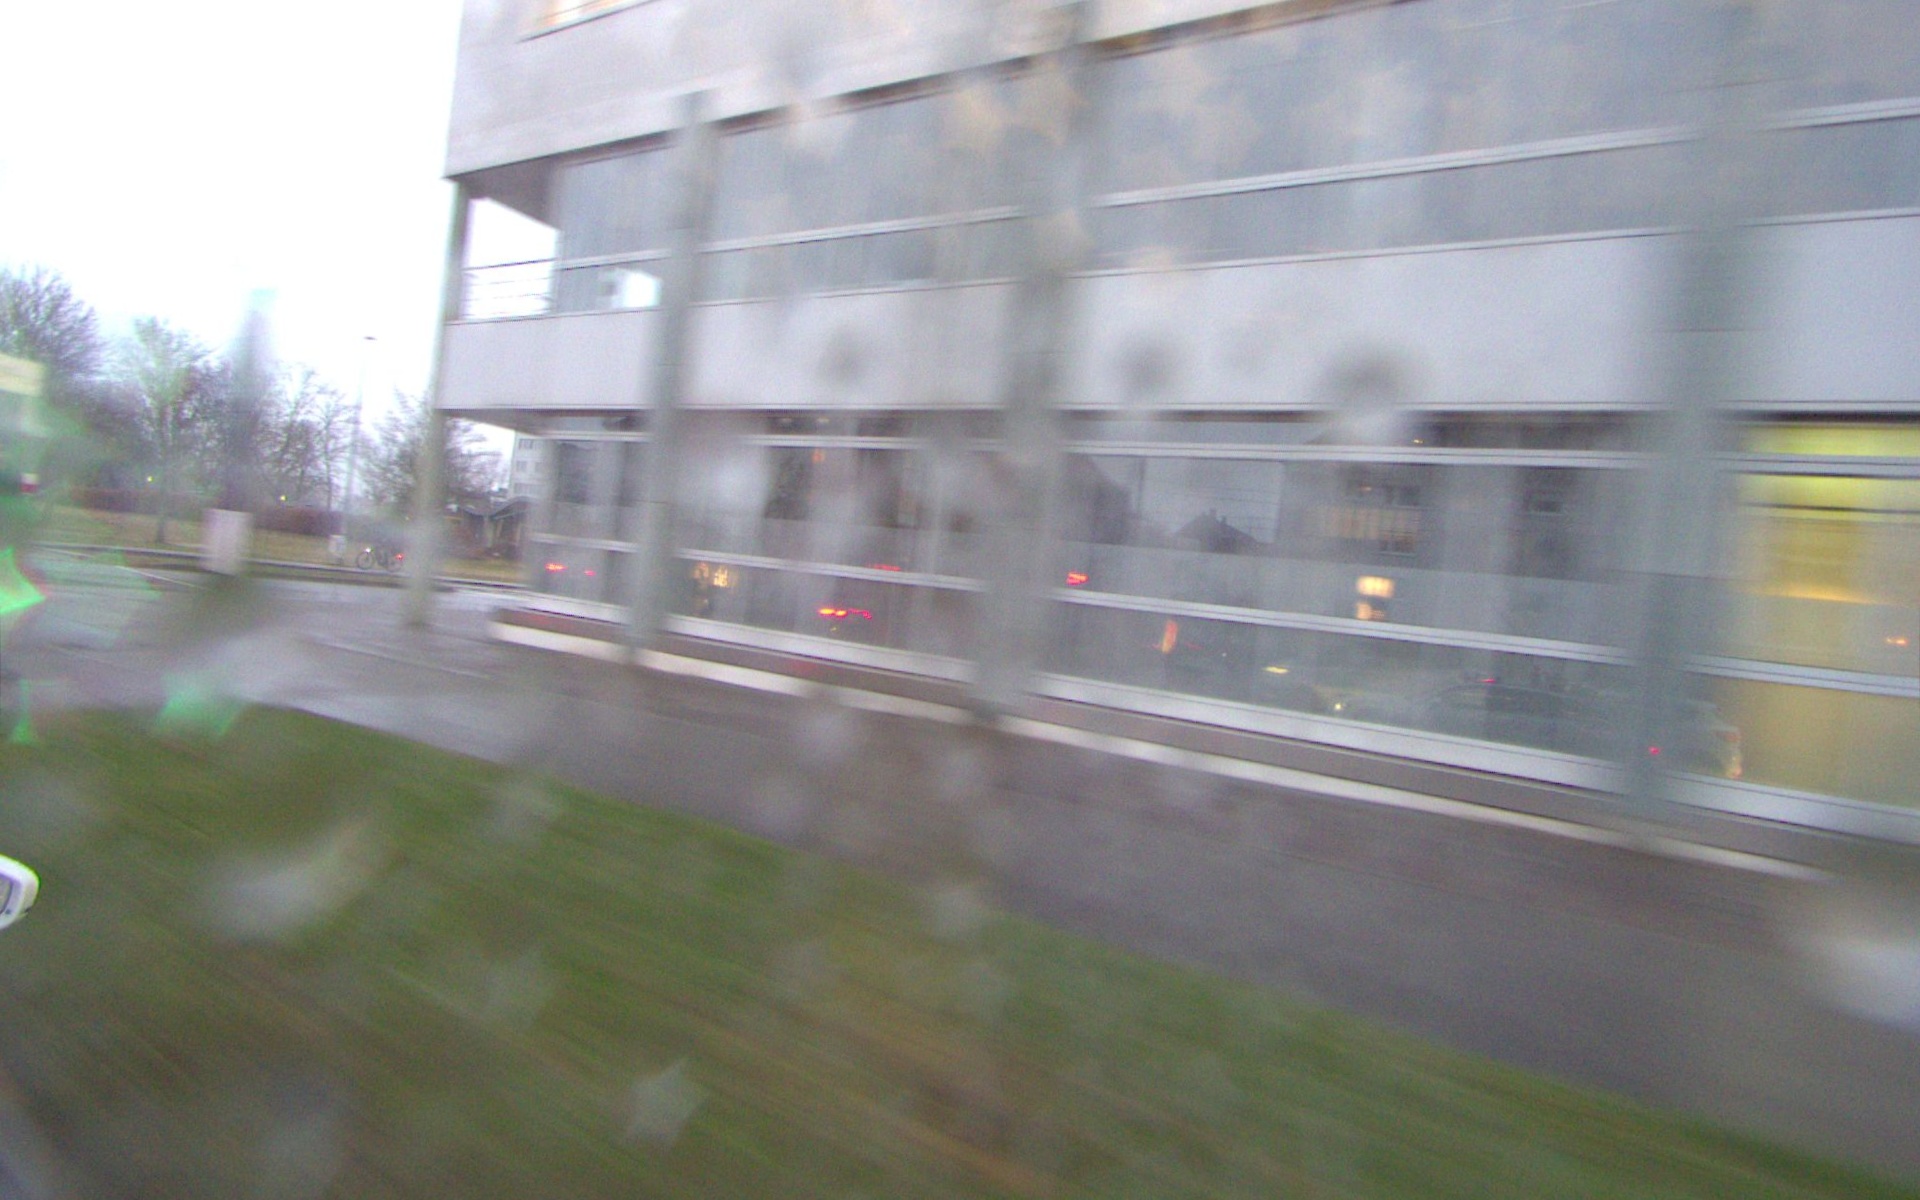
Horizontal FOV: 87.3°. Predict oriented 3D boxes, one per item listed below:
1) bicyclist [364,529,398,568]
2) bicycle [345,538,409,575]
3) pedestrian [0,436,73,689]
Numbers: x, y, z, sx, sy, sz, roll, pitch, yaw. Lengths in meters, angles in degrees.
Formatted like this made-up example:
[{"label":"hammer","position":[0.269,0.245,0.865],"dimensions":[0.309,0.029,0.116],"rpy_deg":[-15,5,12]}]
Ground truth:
[{"label":"bicyclist","position":[-23.813,-2.110,41.374],"dimensions":[0.912,1.447,0.752],"rpy_deg":[6,-2,34]},{"label":"bicycle","position":[-23.932,-1.766,41.331],"dimensions":[1.022,1.231,1.966],"rpy_deg":[8,1,28]},{"label":"pedestrian","position":[-7.080,-0.300,7.299],"dimensions":[0.789,1.775,0.854],"rpy_deg":[2,4,-31]}]
